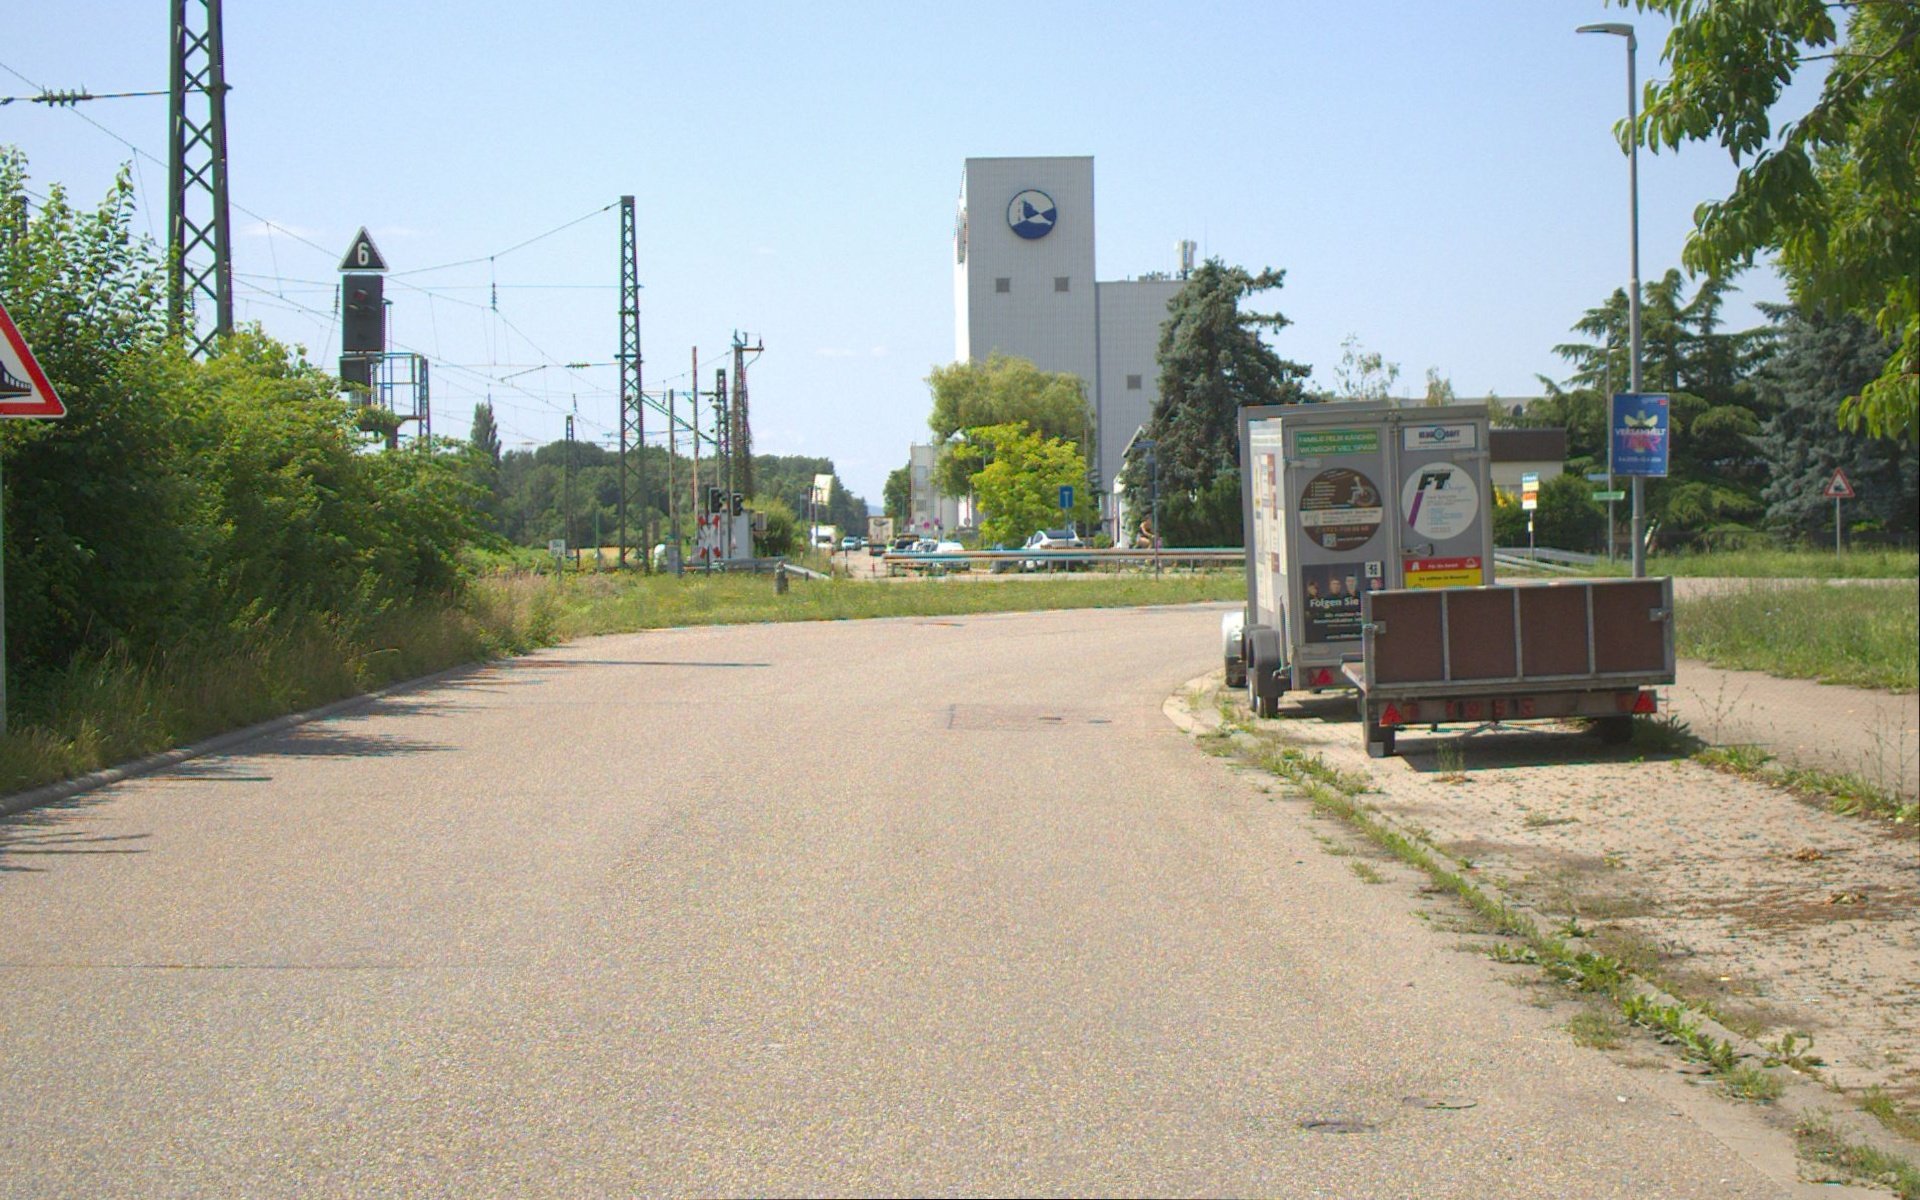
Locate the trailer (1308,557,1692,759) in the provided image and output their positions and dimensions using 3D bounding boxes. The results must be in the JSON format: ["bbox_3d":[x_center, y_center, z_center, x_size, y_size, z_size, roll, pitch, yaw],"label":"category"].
[{"bbox_3d":[3.531,0.329,23.292,2.005,1.119,4.488,-3,1,2],"label":"trailer"}]

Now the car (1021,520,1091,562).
[{"bbox_3d":[3.514,-2.195,126.749,1.993,1.504,4.455,-1,1,-6],"label":"car"}]

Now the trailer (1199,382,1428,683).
[{"bbox_3d":[3.454,-0.683,33.879,1.933,2.635,5.183,-3,1,5],"label":"trailer"}]

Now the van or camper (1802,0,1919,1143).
[{"bbox_3d":[3.358,-0.166,4.601,2.439,2.817,7.624,-2,1,-1],"label":"van or camper"}]

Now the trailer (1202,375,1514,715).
[{"bbox_3d":[3.222,-0.476,28.769,1.919,2.499,4.741,-3,1,0],"label":"trailer"}]
